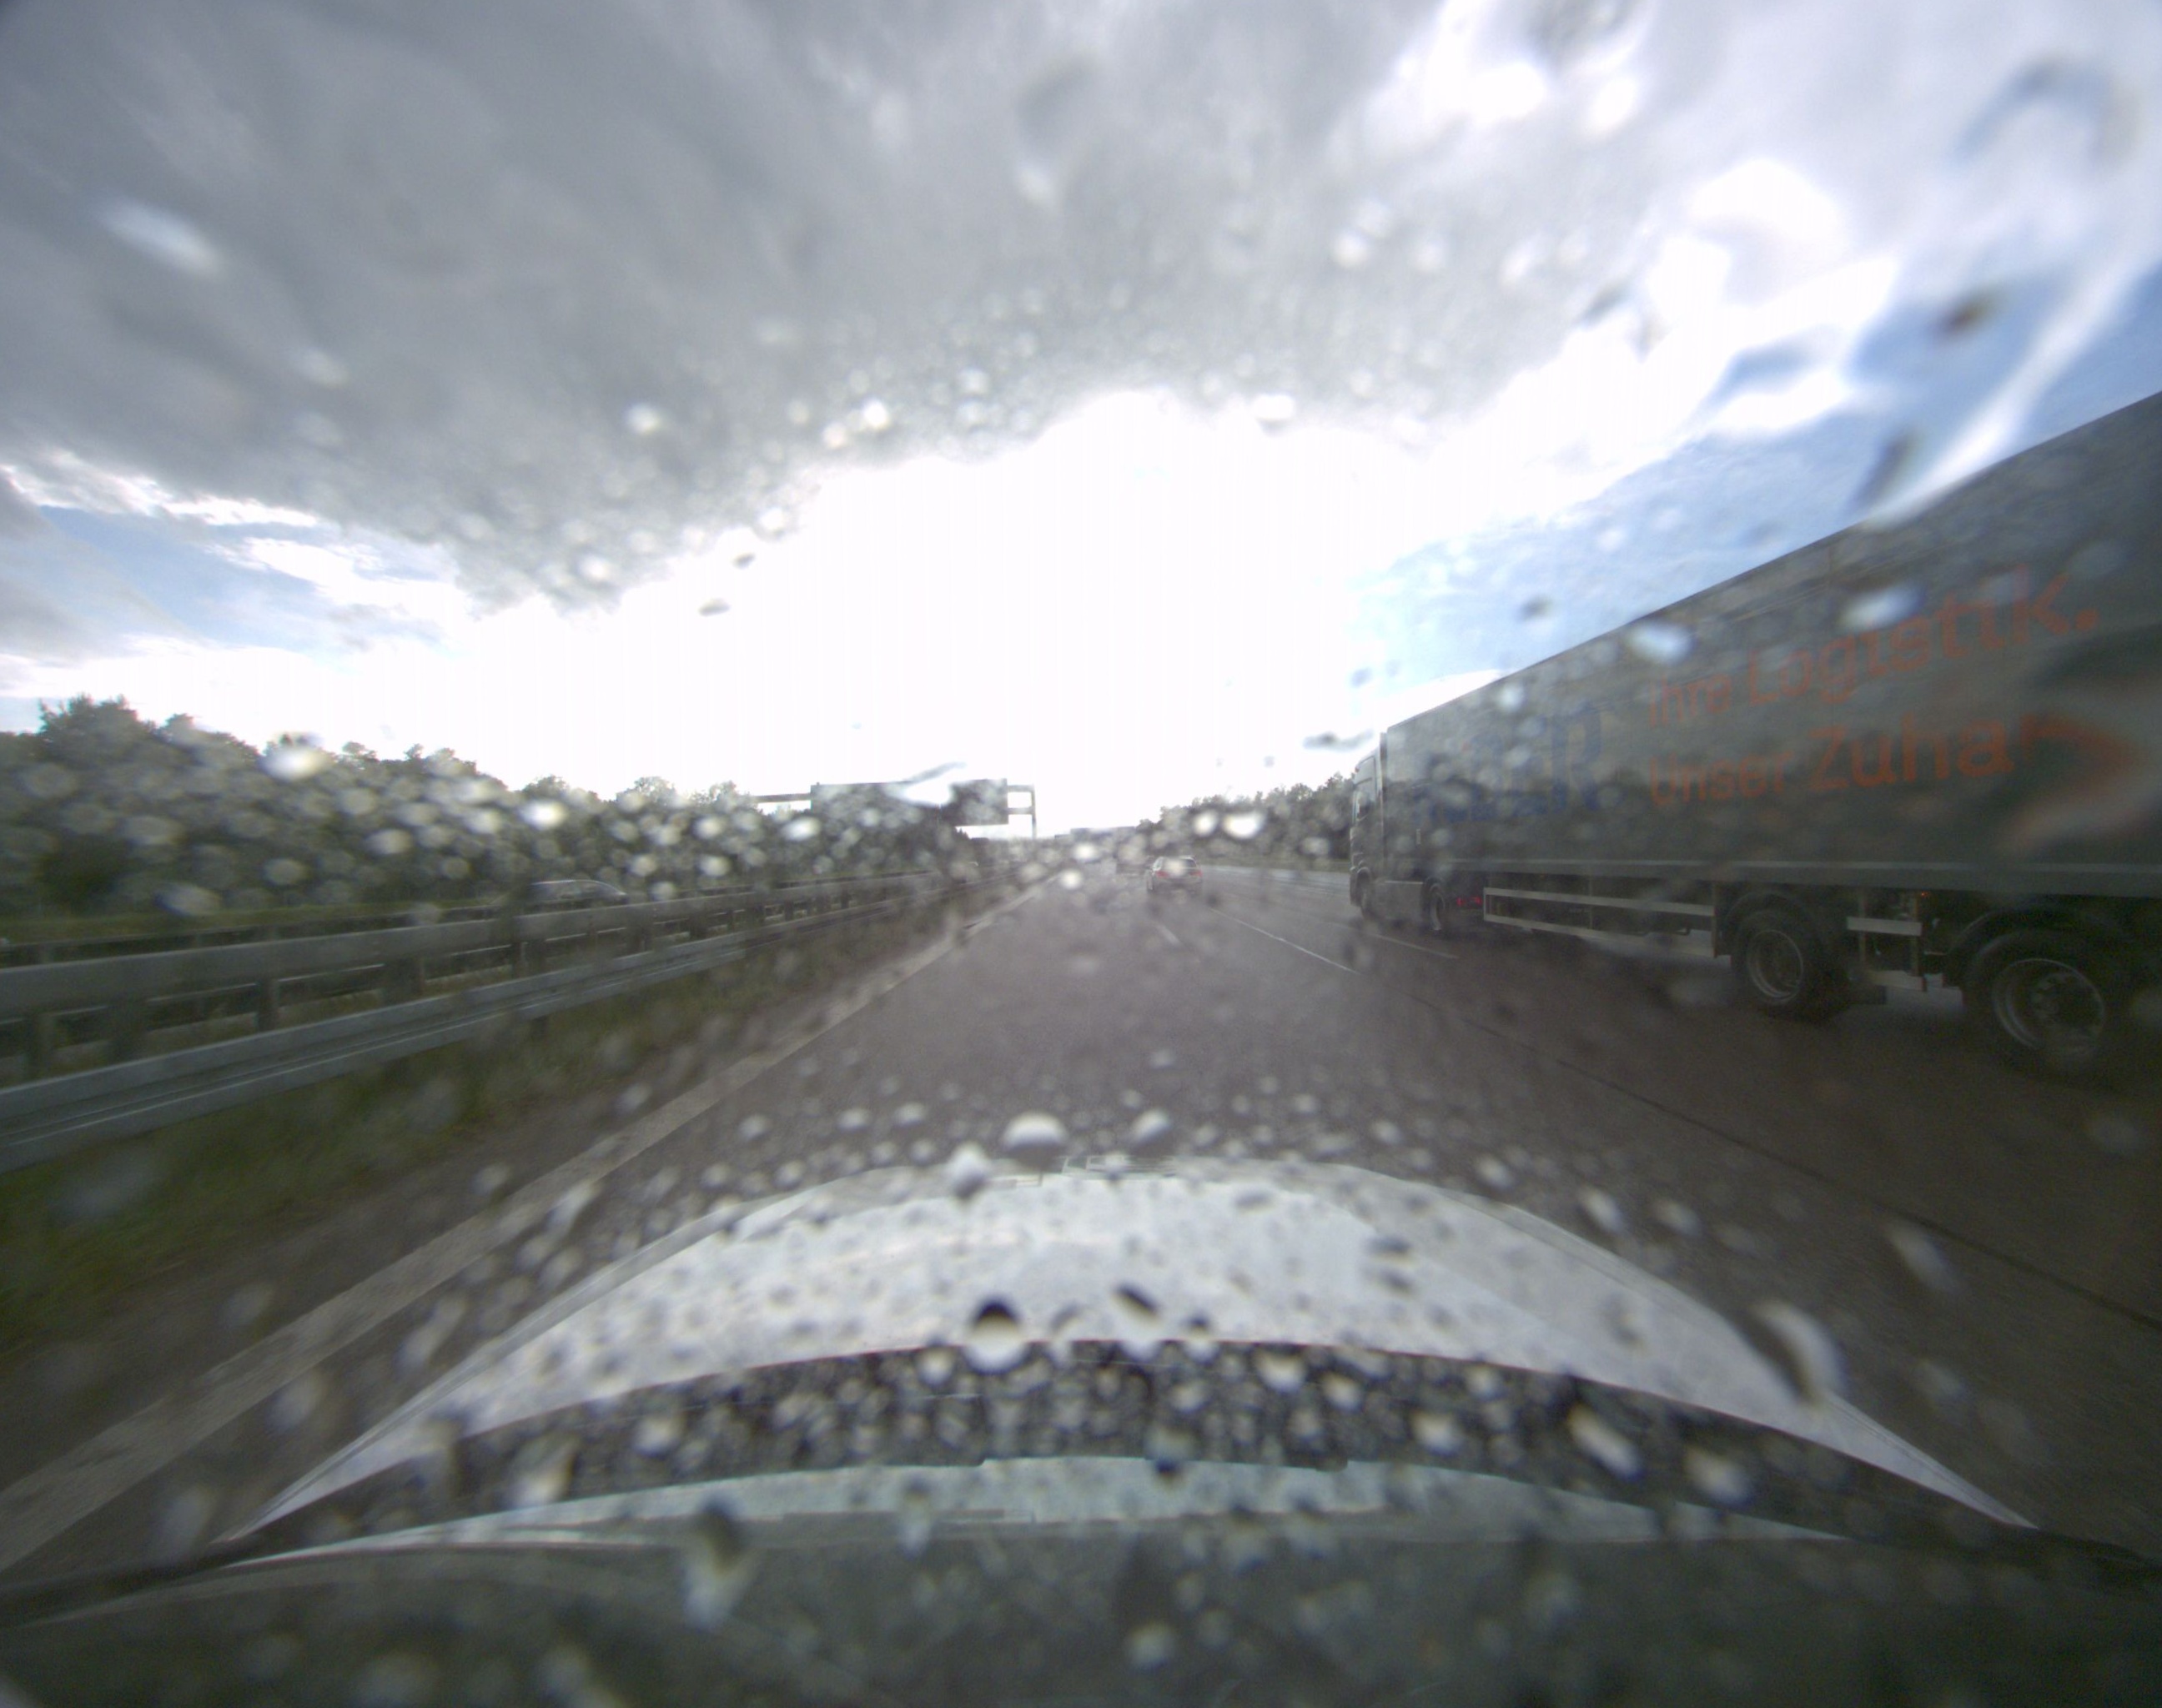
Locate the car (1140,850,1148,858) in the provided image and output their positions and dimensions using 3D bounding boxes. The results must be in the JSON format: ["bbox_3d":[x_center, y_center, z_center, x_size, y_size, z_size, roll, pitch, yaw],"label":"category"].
[{"bbox_3d":[14.978,-0.042,192.927,1.734,1.688,4.002,-1,0,2],"label":"car"}]

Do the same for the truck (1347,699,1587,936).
[{"bbox_3d":[7.226,-0.605,16.094,2.285,3.868,5.394,-1,0,2],"label":"truck"}]

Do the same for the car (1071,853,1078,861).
[{"bbox_3d":[-1.699,0.718,212.201,1.611,2.013,4.001,0,0,1],"label":"car"}]

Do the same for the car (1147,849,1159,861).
[{"bbox_3d":[12.021,0.141,136.357,1.984,2.013,4.006,0,0,5],"label":"car"}]

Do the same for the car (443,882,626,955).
[{"bbox_3d":[-13.530,1.537,20.501,1.751,1.449,4.140,-1,0,0],"label":"car"}]

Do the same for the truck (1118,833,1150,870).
[{"bbox_3d":[3.830,-0.197,58.704,2.128,2.489,5.319,-1,0,4],"label":"truck"}]

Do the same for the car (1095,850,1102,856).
[{"bbox_3d":[5.273,-0.354,248.847,1.986,2.013,4.002,0,0,2],"label":"car"}]

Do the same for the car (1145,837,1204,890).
[{"bbox_3d":[3.626,0.326,31.900,2.067,1.885,5.019,-1,0,5],"label":"car"}]

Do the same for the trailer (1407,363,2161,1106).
[{"bbox_3d":[7.073,-0.664,8.306,2.315,4.001,13.415,-1,0,1],"label":"trailer"}]

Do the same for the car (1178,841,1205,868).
[{"bbox_3d":[8.491,-0.002,62.895,1.899,2.013,4.006,-1,0,5],"label":"car"}]

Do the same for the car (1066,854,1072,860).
[{"bbox_3d":[-3.779,1.043,262.078,1.787,2.013,4.003,0,0,3],"label":"car"}]

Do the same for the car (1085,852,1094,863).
[{"bbox_3d":[1.592,0.704,154.024,1.668,2.013,4.002,0,0,2],"label":"car"}]

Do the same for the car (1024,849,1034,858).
[{"bbox_3d":[-12.575,-0.134,198.391,1.986,2.013,4.001,-1,0,2],"label":"car"}]
